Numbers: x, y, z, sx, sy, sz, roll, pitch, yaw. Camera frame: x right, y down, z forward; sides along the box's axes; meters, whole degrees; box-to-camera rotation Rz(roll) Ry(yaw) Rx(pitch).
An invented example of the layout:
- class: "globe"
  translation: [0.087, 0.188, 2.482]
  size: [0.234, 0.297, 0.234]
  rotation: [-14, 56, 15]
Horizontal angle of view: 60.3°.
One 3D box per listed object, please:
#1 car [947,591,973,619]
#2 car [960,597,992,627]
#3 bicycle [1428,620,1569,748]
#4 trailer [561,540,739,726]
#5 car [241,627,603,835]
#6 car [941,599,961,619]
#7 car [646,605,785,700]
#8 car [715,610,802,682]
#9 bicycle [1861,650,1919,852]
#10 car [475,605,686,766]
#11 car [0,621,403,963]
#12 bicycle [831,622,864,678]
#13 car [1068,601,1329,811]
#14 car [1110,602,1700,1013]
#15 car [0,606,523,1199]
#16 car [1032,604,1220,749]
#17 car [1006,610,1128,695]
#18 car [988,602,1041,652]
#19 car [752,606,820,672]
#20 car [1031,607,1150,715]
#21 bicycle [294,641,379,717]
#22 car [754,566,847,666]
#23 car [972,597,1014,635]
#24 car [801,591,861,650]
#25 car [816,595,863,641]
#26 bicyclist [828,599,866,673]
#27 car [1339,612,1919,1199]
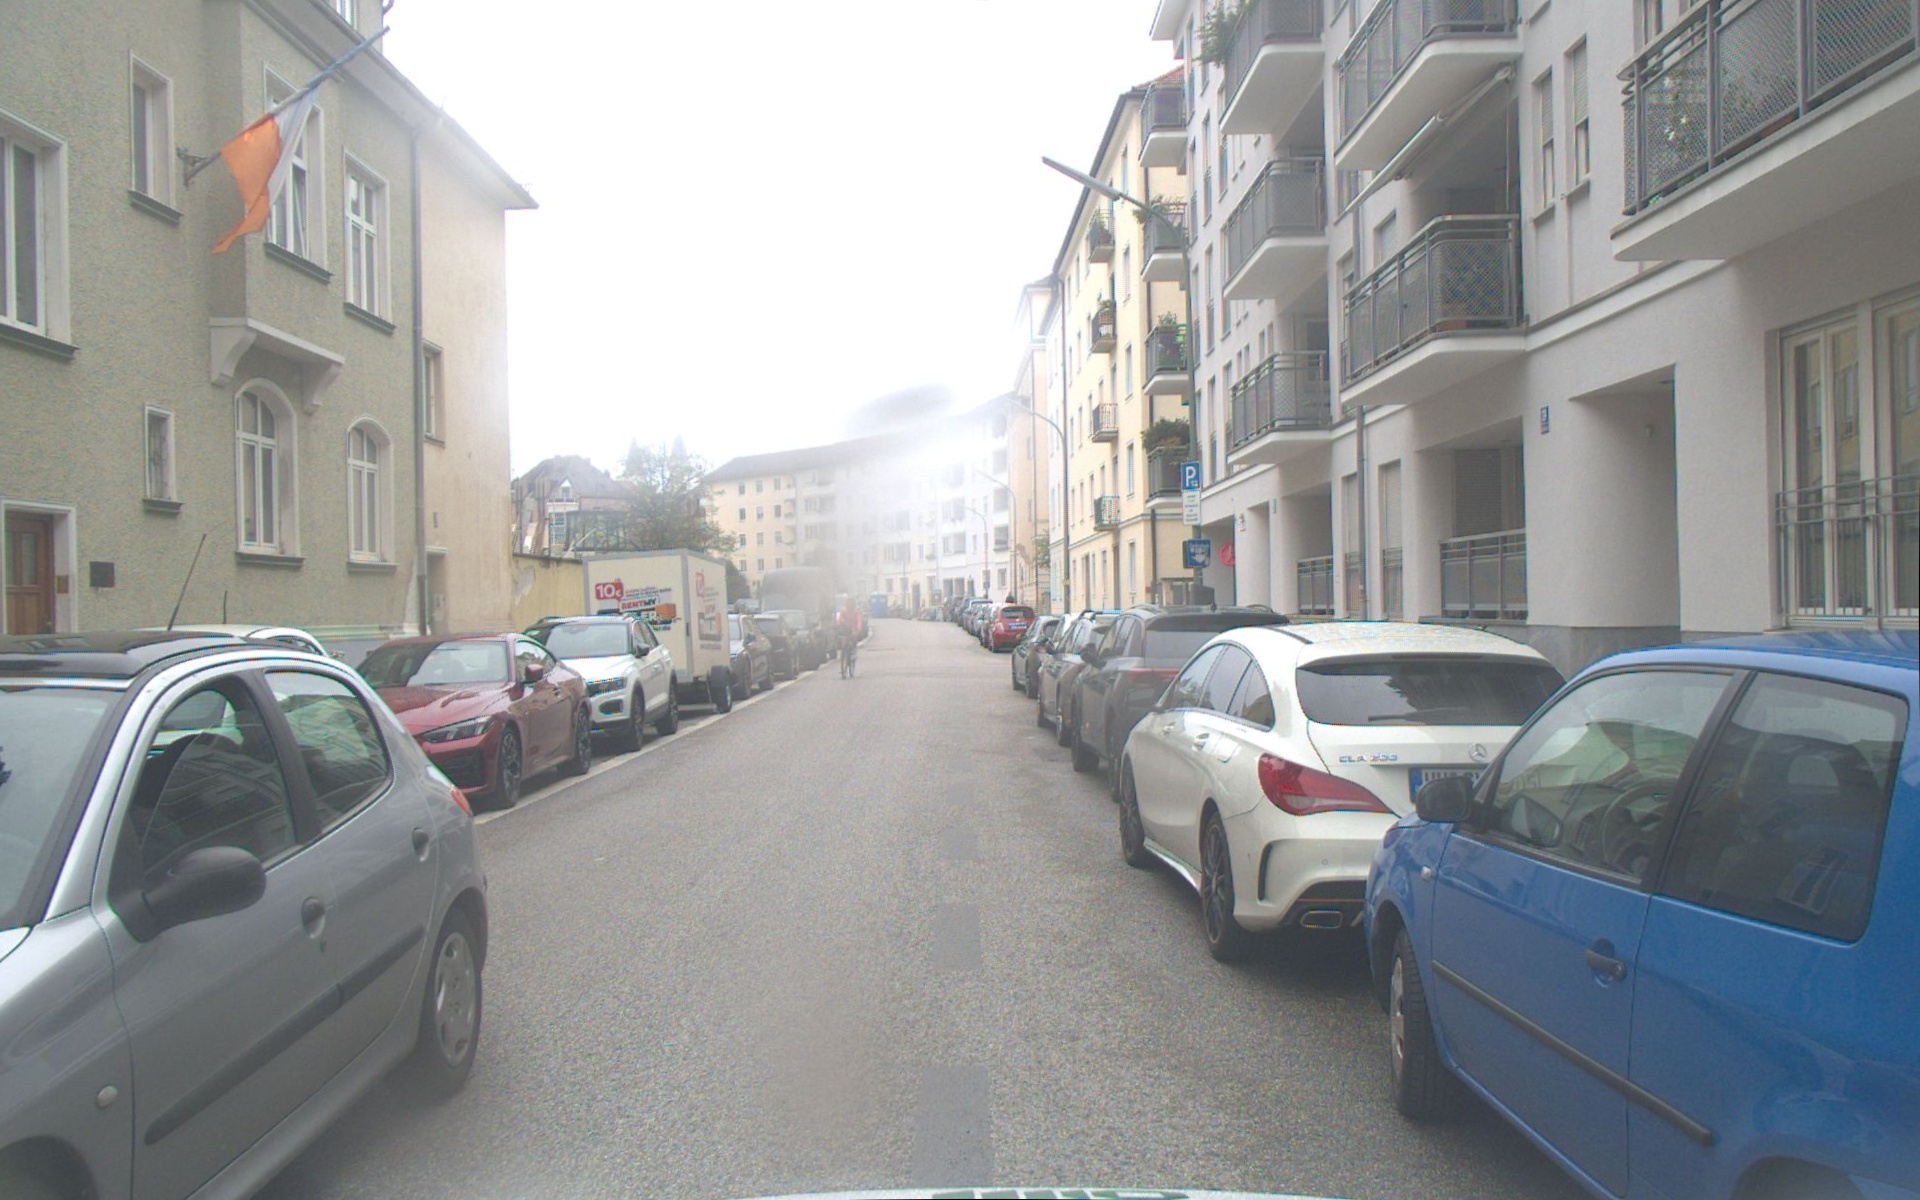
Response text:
- class: "car"
  translation: [-0.003, 0.298, 99.339]
  size: [1.444, 1.669, 3.999]
  rotation: [0, 0, -2]
- class: "car"
  translation: [0.848, 0.637, 89.657]
  size: [1.558, 1.610, 4.297]
  rotation: [0, 0, -2]
- class: "bicycle"
  translation: [5.415, 0.810, 16.767]
  size: [0.615, 1.180, 2.126]
  rotation: [-1, 0, -3]
- class: "trailer"
  translation: [-4.629, 0.459, 25.352]
  size: [1.674, 2.504, 4.387]
  rotation: [-3, 0, 1]
- class: "car"
  translation: [-4.486, 1.009, 14.527]
  size: [1.823, 1.437, 4.331]
  rotation: [-3, -1, -2]
- class: "car"
  translation: [-0.597, 0.606, 110.835]
  size: [1.246, 1.321, 2.796]
  rotation: [-1, 0, -2]
- class: "car"
  translation: [-4.521, 0.936, 31.176]
  size: [1.730, 1.565, 4.542]
  rotation: [-3, 0, 2]
- class: "car"
  translation: [-4.526, 1.007, 37.567]
  size: [1.667, 1.471, 3.822]
  rotation: [0, 1, -3]
- class: "bicycle"
  translation: [5.320, 0.766, 8.171]
  size: [0.663, 1.046, 1.834]
  rotation: [-1, -2, -2]
- class: "car"
  translation: [-4.429, 0.933, 19.869]
  size: [1.653, 1.631, 3.920]
  rotation: [-3, 0, -2]
- class: "car"
  translation: [-4.373, 0.916, 9.233]
  size: [1.444, 1.492, 3.312]
  rotation: [-3, 0, -2]
- class: "bicycle"
  translation: [-2.458, 1.087, 36.249]
  size: [0.494, 1.148, 1.773]
  rotation: [-2, 0, 2]
- class: "car"
  translation: [1.938, 0.811, 14.508]
  size: [1.571, 1.557, 3.982]
  rotation: [1, 0, -2]
- class: "car"
  translation: [1.816, 0.764, 8.119]
  size: [1.624, 1.465, 4.205]
  rotation: [1, 0, -2]
- class: "car"
  translation: [-2.237, 0.761, 3.624]
  size: [1.549, 1.436, 3.612]
  rotation: [-2, -1, 0]
- class: "car"
  translation: [1.924, 0.851, 20.453]
  size: [1.699, 1.557, 4.619]
  rotation: [1, 0, -2]
- class: "car"
  translation: [1.887, 0.919, 30.294]
  size: [1.728, 1.432, 4.076]
  rotation: [-1, -1, -3]
- class: "car"
  translation: [1.743, 0.867, 53.977]
  size: [1.563, 1.535, 3.800]
  rotation: [-1, 0, 0]
- class: "car"
  translation: [-4.429, 0.991, 42.550]
  size: [1.554, 1.565, 3.540]
  rotation: [-2, -1, -4]
- class: "car"
  translation: [1.977, 0.889, 25.816]
  size: [1.488, 1.557, 3.525]
  rotation: [0, 0, -1]
- class: "bicycle"
  translation: [-8.419, 1.044, 22.404]
  size: [0.512, 0.922, 1.928]
  rotation: [2, 0, -4]
- class: "car"
  translation: [-4.522, 0.416, 47.670]
  size: [2.045, 2.682, 5.377]
  rotation: [-1, 0, 1]
- class: "car"
  translation: [1.372, 0.653, 69.723]
  size: [1.567, 1.517, 3.797]
  rotation: [-1, 0, -2]
- class: "car"
  translation: [-4.691, 0.706, 60.556]
  size: [1.845, 1.965, 4.600]
  rotation: [-3, 0, -1]
- class: "car"
  translation: [-4.862, 0.716, 67.160]
  size: [1.667, 1.720, 4.026]
  rotation: [-3, 0, -2]
- class: "bicyclist"
  translation: [-2.467, 0.779, 36.288]
  size: [0.679, 1.589, 0.967]
  rotation: [-2, 0, 2]
- class: "car"
  translation: [2.160, 0.766, 3.879]
  size: [1.586, 1.437, 3.552]
  rotation: [1, -1, -2]
